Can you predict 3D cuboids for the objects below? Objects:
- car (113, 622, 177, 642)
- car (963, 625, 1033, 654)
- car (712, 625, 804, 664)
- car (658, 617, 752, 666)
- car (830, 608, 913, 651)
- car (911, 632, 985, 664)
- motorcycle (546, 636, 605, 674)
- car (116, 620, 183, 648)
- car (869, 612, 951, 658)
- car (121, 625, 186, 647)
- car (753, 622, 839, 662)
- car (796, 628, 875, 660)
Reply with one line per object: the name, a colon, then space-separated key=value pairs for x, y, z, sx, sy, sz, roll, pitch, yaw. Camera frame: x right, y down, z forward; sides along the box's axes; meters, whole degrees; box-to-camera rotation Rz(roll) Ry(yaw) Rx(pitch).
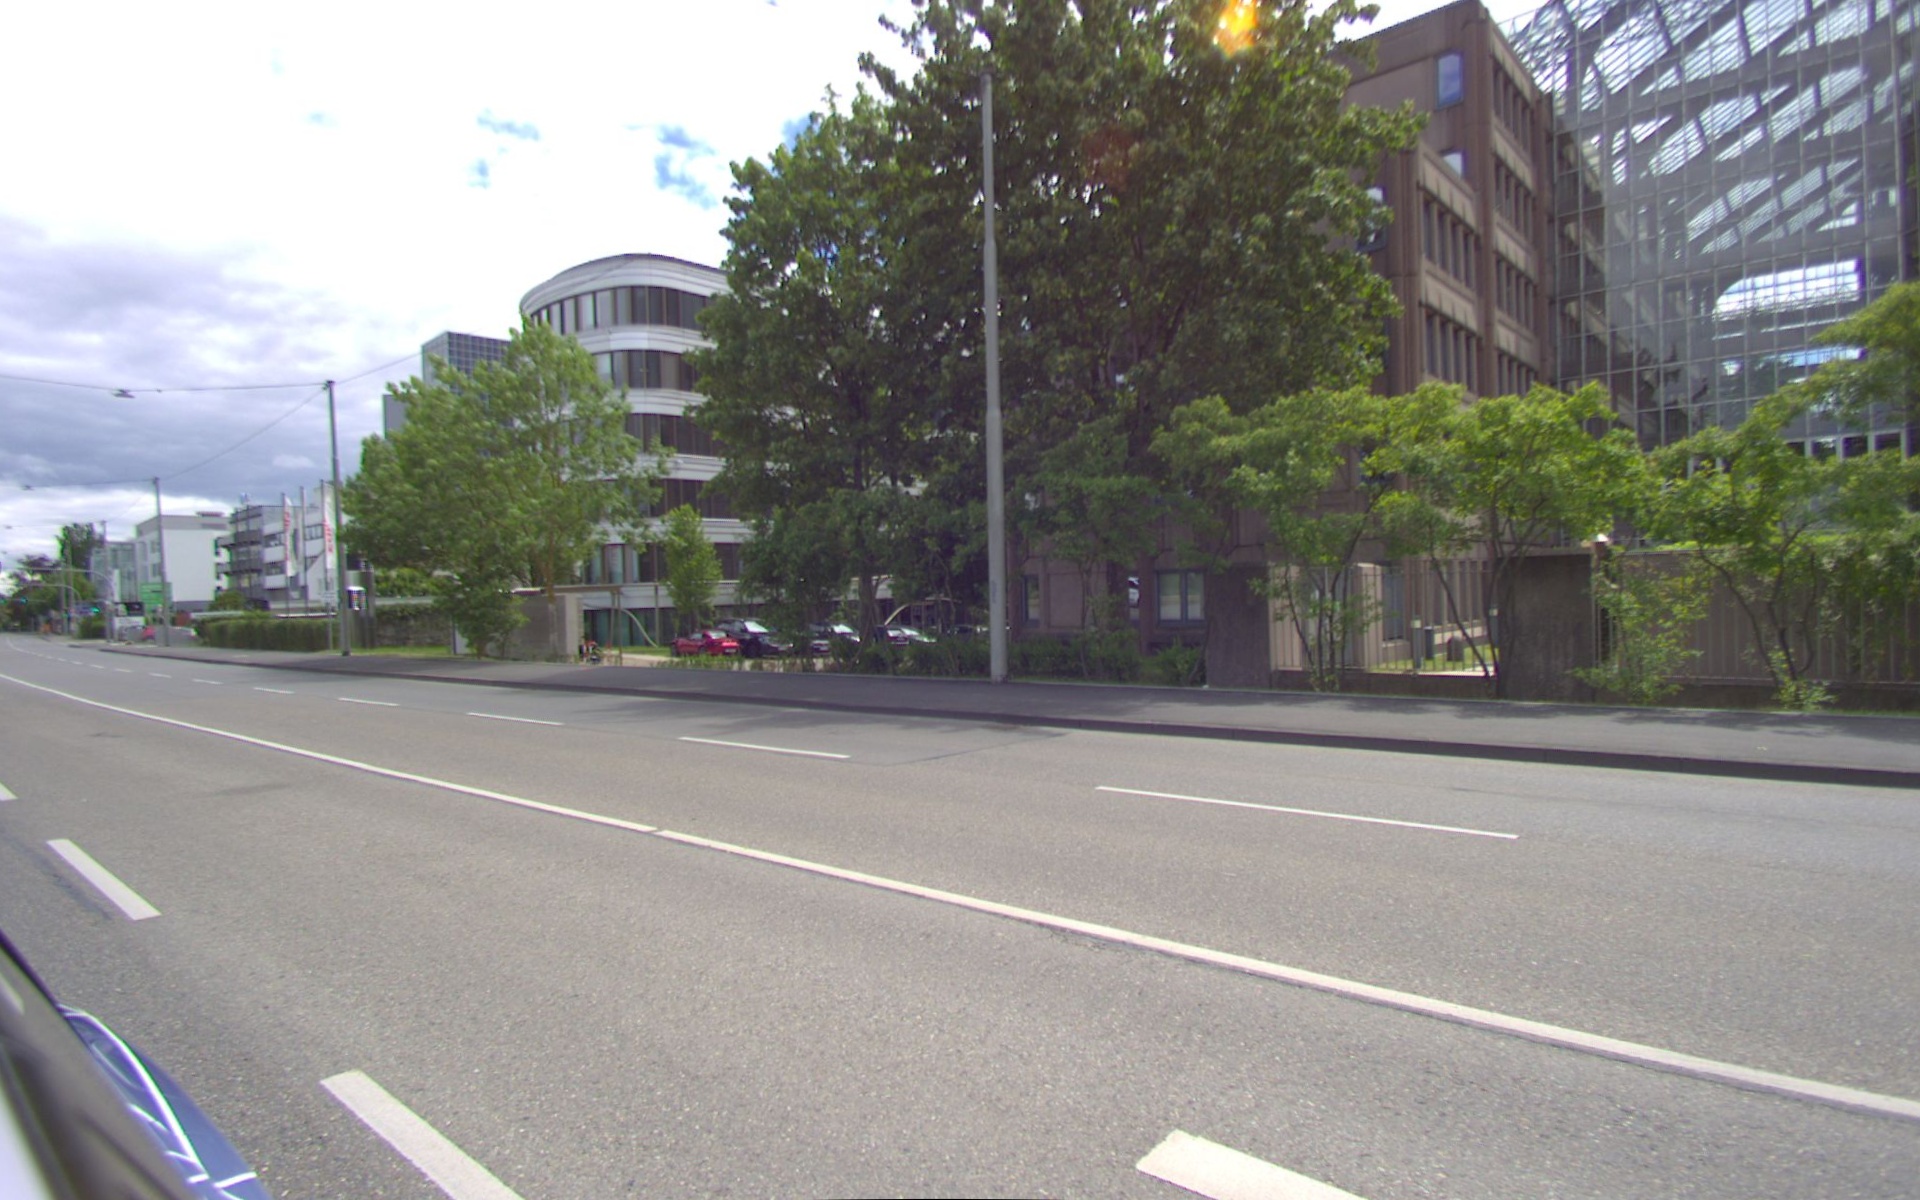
car: x=-68.668 y=2.727 z=85.310 sx=1.823 sy=1.342 sz=3.945 roll=-3 pitch=1 yaw=42
car: x=2.248 y=2.334 z=61.116 sx=3.999 sy=1.497 sz=1.836 roll=1 pitch=2 yaw=41
car: x=-9.009 y=1.960 z=45.008 sx=3.998 sy=1.630 sz=1.972 roll=-1 pitch=-3 yaw=42
car: x=-11.024 y=1.749 z=43.627 sx=3.993 sy=1.807 sz=1.846 roll=2 pitch=1 yaw=37
car: x=-4.493 y=1.468 z=50.874 sx=3.998 sy=2.042 sz=1.908 roll=-1 pitch=0 yaw=41
car: x=-0.703 y=2.677 z=57.172 sx=4.038 sy=1.629 sz=1.821 roll=-1 pitch=0 yaw=41
motorcycle: x=-14.019 y=2.001 z=36.942 sx=0.745 sy=1.254 sz=1.882 roll=-1 pitch=0 yaw=39
car: x=-65.095 y=2.685 z=81.358 sx=1.920 sy=2.029 sz=3.944 roll=-1 pitch=0 yaw=42
car: x=-2.647 y=1.783 z=52.593 sx=3.999 sy=2.028 sz=1.973 roll=4 pitch=3 yaw=41
car: x=-63.547 y=2.830 z=79.740 sx=1.835 sy=1.623 sz=3.752 roll=-2 pitch=-1 yaw=42
car: x=-7.636 y=1.917 z=47.059 sx=3.998 sy=1.736 sz=1.800 roll=-1 pitch=0 yaw=41
car: x=-6.068 y=2.095 z=48.901 sx=3.998 sy=1.386 sz=1.506 roll=-1 pitch=0 yaw=41
